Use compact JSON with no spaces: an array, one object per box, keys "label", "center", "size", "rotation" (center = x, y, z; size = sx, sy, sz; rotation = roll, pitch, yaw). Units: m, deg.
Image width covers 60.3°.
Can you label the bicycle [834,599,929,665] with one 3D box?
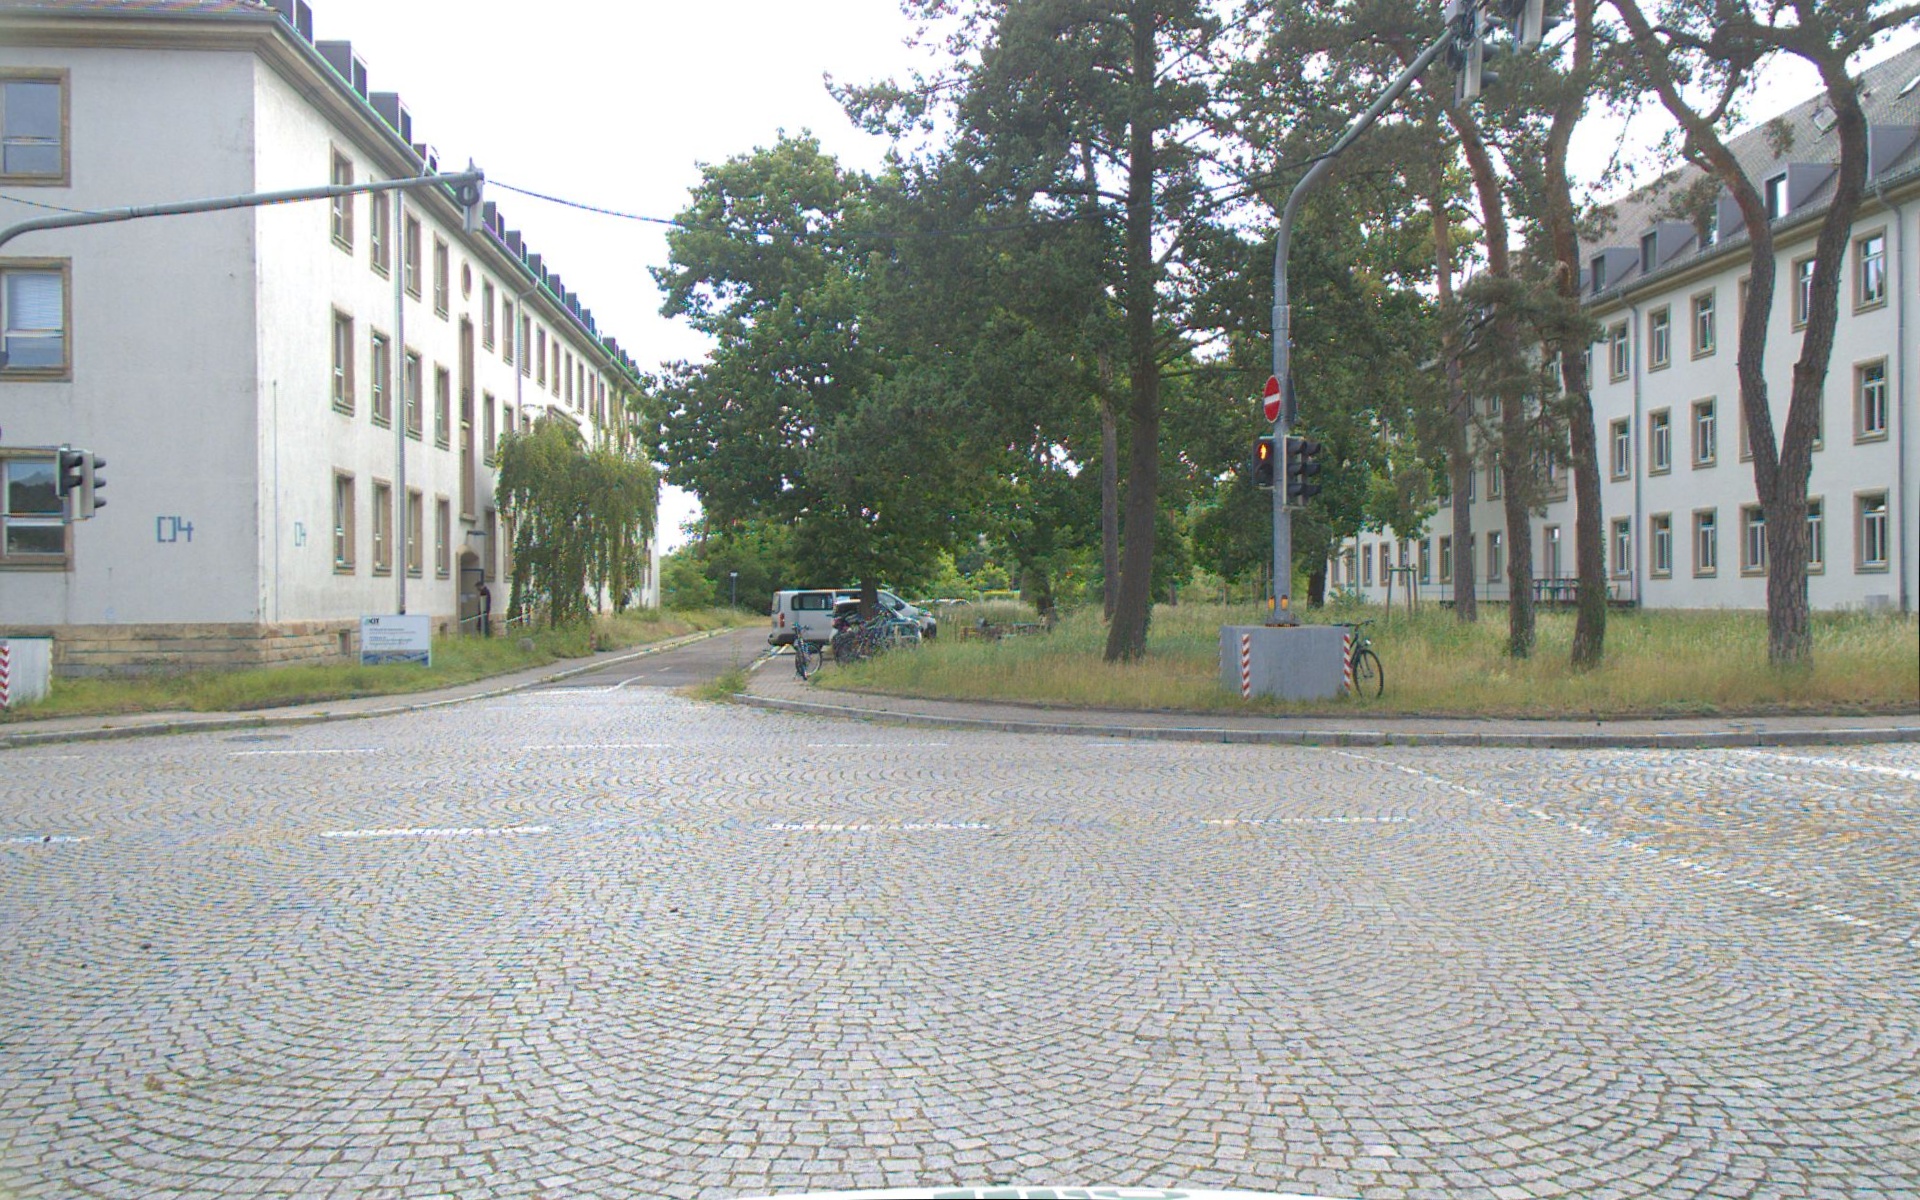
[{"label":"bicycle","center":[-1.697,0.682,35.856],"size":[2.028,1.402,0.619],"rotation":[0,0,-3]}]

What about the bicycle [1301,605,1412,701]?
[{"label":"bicycle","center":[5.233,0.674,21.944],"size":[0.891,1.197,1.872],"rotation":[0,0,-5]}]

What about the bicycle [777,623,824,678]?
[{"label":"bicycle","center":[-3.061,0.958,31.867],"size":[0.605,0.980,2.077],"rotation":[0,0,3]}]

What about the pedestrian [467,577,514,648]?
[{"label":"pedestrian","center":[-13.750,0.354,48.454],"size":[1.064,2.049,1.022],"rotation":[0,0,1]}]

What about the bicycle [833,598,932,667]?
[{"label":"bicycle","center":[-1.608,0.671,34.439],"size":[2.028,1.402,0.619],"rotation":[0,0,-3]}]

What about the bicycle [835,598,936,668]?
[{"label":"bicycle","center":[-1.521,0.667,33.773],"size":[2.028,1.402,0.619],"rotation":[0,0,-3]}]

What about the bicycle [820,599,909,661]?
[{"label":"bicycle","center":[-2.202,0.690,38.109],"size":[2.028,1.402,0.619],"rotation":[0,0,-3]}]

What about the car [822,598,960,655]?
[{"label":"car","center":[-2.050,0.747,48.280],"size":[3.859,1.571,1.996],"rotation":[0,0,-9]}]

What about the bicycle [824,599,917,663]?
[{"label":"bicycle","center":[-1.971,0.681,36.638],"size":[2.028,1.402,0.619],"rotation":[0,0,-3]}]

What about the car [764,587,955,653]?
[{"label":"car","center":[-3.145,0.607,51.581],"size":[5.600,1.944,2.220],"rotation":[-1,0,-16]}]

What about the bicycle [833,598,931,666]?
[{"label":"bicycle","center":[-1.652,0.676,35.061],"size":[2.028,1.402,0.619],"rotation":[0,0,-3]}]
